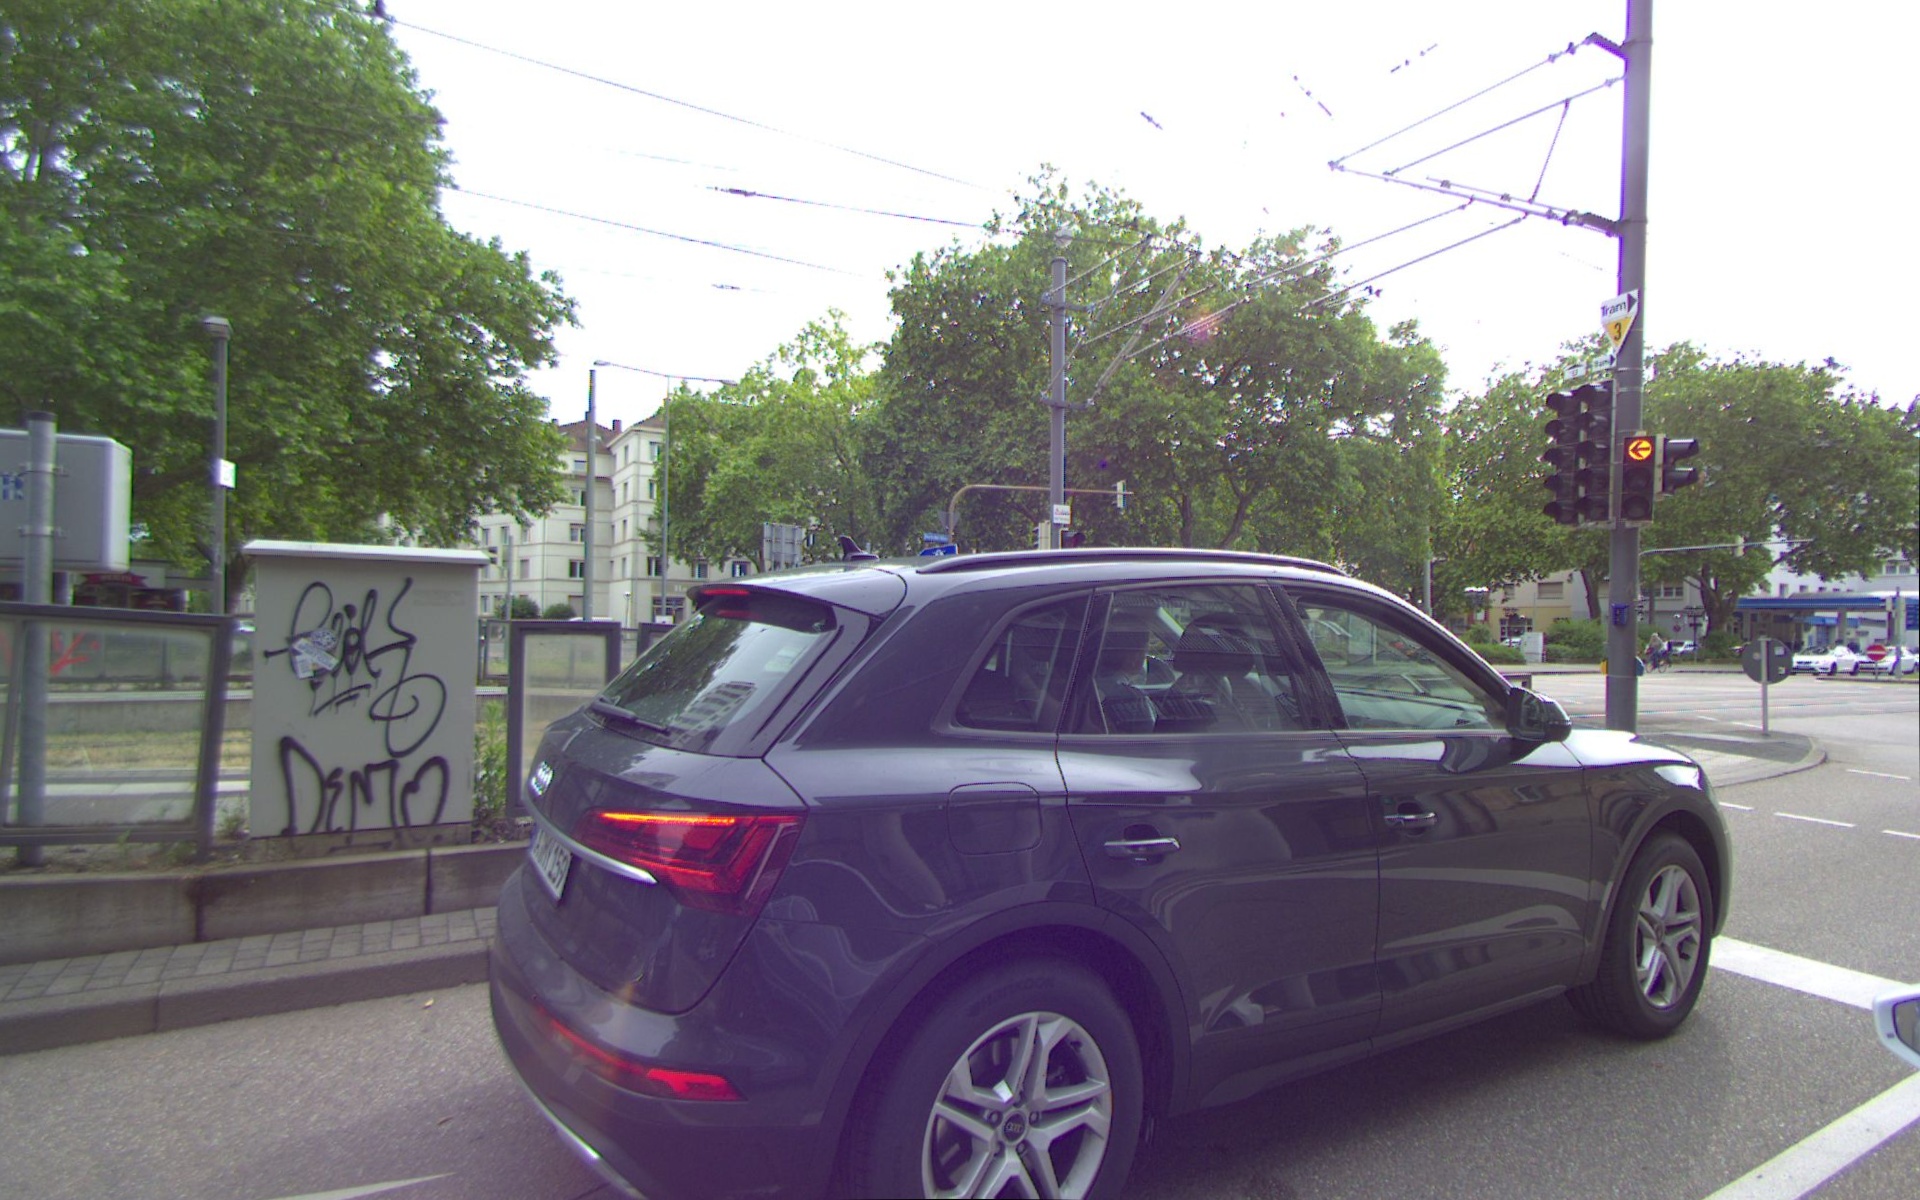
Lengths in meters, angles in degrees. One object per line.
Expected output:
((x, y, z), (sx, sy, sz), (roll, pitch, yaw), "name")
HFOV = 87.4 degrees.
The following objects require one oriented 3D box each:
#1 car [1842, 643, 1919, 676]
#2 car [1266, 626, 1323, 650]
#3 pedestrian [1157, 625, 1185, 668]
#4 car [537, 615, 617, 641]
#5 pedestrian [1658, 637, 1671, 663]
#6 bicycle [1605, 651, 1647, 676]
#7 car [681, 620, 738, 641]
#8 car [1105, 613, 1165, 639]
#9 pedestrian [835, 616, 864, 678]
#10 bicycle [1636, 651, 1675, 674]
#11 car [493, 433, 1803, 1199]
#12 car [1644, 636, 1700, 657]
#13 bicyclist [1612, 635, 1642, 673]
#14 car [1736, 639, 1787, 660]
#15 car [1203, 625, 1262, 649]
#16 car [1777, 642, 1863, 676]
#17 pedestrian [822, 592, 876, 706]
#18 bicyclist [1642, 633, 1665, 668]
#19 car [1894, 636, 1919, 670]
((47.702, 3.040, 51.684), (5.636, 1.546, 1.832), (2, 0, -30), "car")
((31.904, 3.613, 95.976), (4.766, 2.129, 2.071), (0, -2, 44), "car")
((8.569, 1.892, 40.726), (0.748, 1.712, 0.799), (2, -1, -34), "pedestrian")
((-26.253, 1.911, 68.945), (4.789, 1.686, 1.979), (2, -2, -38), "car")
((37.440, 2.649, 53.353), (0.465, 1.343, 0.452), (2, -1, -36), "pedestrian")
((29.026, 2.754, 43.773), (1.970, 1.078, 0.723), (2, -3, -31), "bicycle")
((-19.134, 2.332, 76.753), (3.953, 1.505, 1.788), (2, -1, -31), "car")
((14.906, 2.214, 85.796), (4.766, 2.129, 2.071), (0, -2, 44), "car")
((-2.973, 1.249, 26.971), (0.517, 1.633, 0.523), (2, 0, 28), "pedestrian")
((32.295, 2.907, 46.638), (1.969, 1.078, 0.724), (2, -3, -30), "bicycle")
((0.834, 0.620, 3.521), (4.317, 1.669, 1.902), (2, 0, -30), "car")
((52.473, 3.401, 74.010), (3.953, 1.486, 1.984), (2, -1, -30), "car")
((29.100, 2.353, 43.808), (0.983, 1.659, 0.702), (2, -3, -31), "bicyclist")
((55.791, 3.438, 69.914), (3.363, 1.376, 1.694), (2, 0, -30), "car")
((24.829, 3.346, 91.616), (4.766, 2.129, 2.071), (0, -2, 44), "car")
((41.477, 2.836, 48.447), (4.362, 1.467, 1.833), (2, 0, -30), "car")
((-1.774, 0.769, 16.022), (0.619, 1.773, 0.651), (2, 0, -28), "pedestrian")
((32.192, 2.338, 46.630), (0.748, 1.582, 0.580), (2, -3, -30), "bicyclist")
((53.337, 2.918, 55.054), (5.088, 1.807, 1.694), (2, 0, -30), "car")
